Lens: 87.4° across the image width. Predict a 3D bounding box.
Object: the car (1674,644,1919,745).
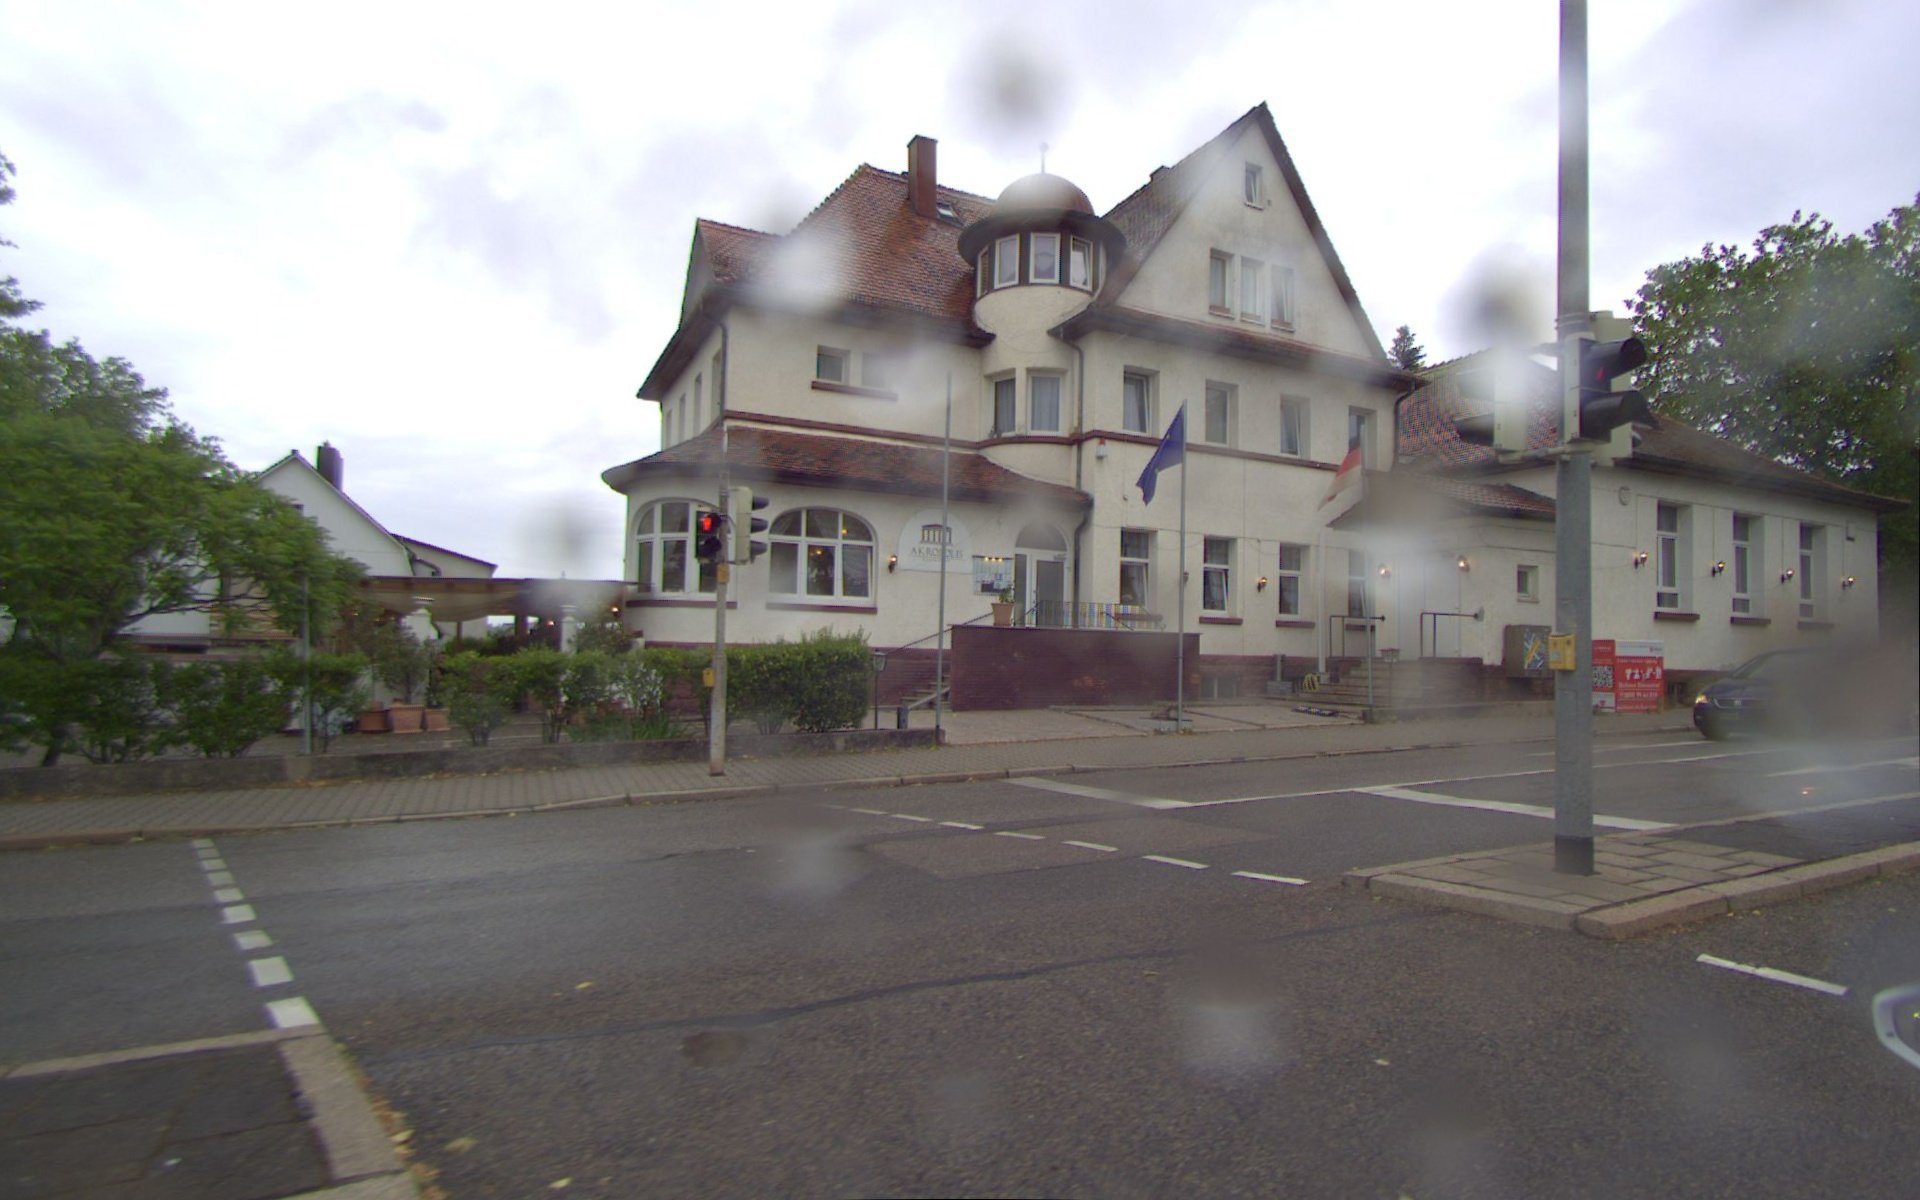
[{"bbox_3d":[13.771,1.461,16.345,4.051,1.438,1.762,1,-3,-26],"label":"car"}]
